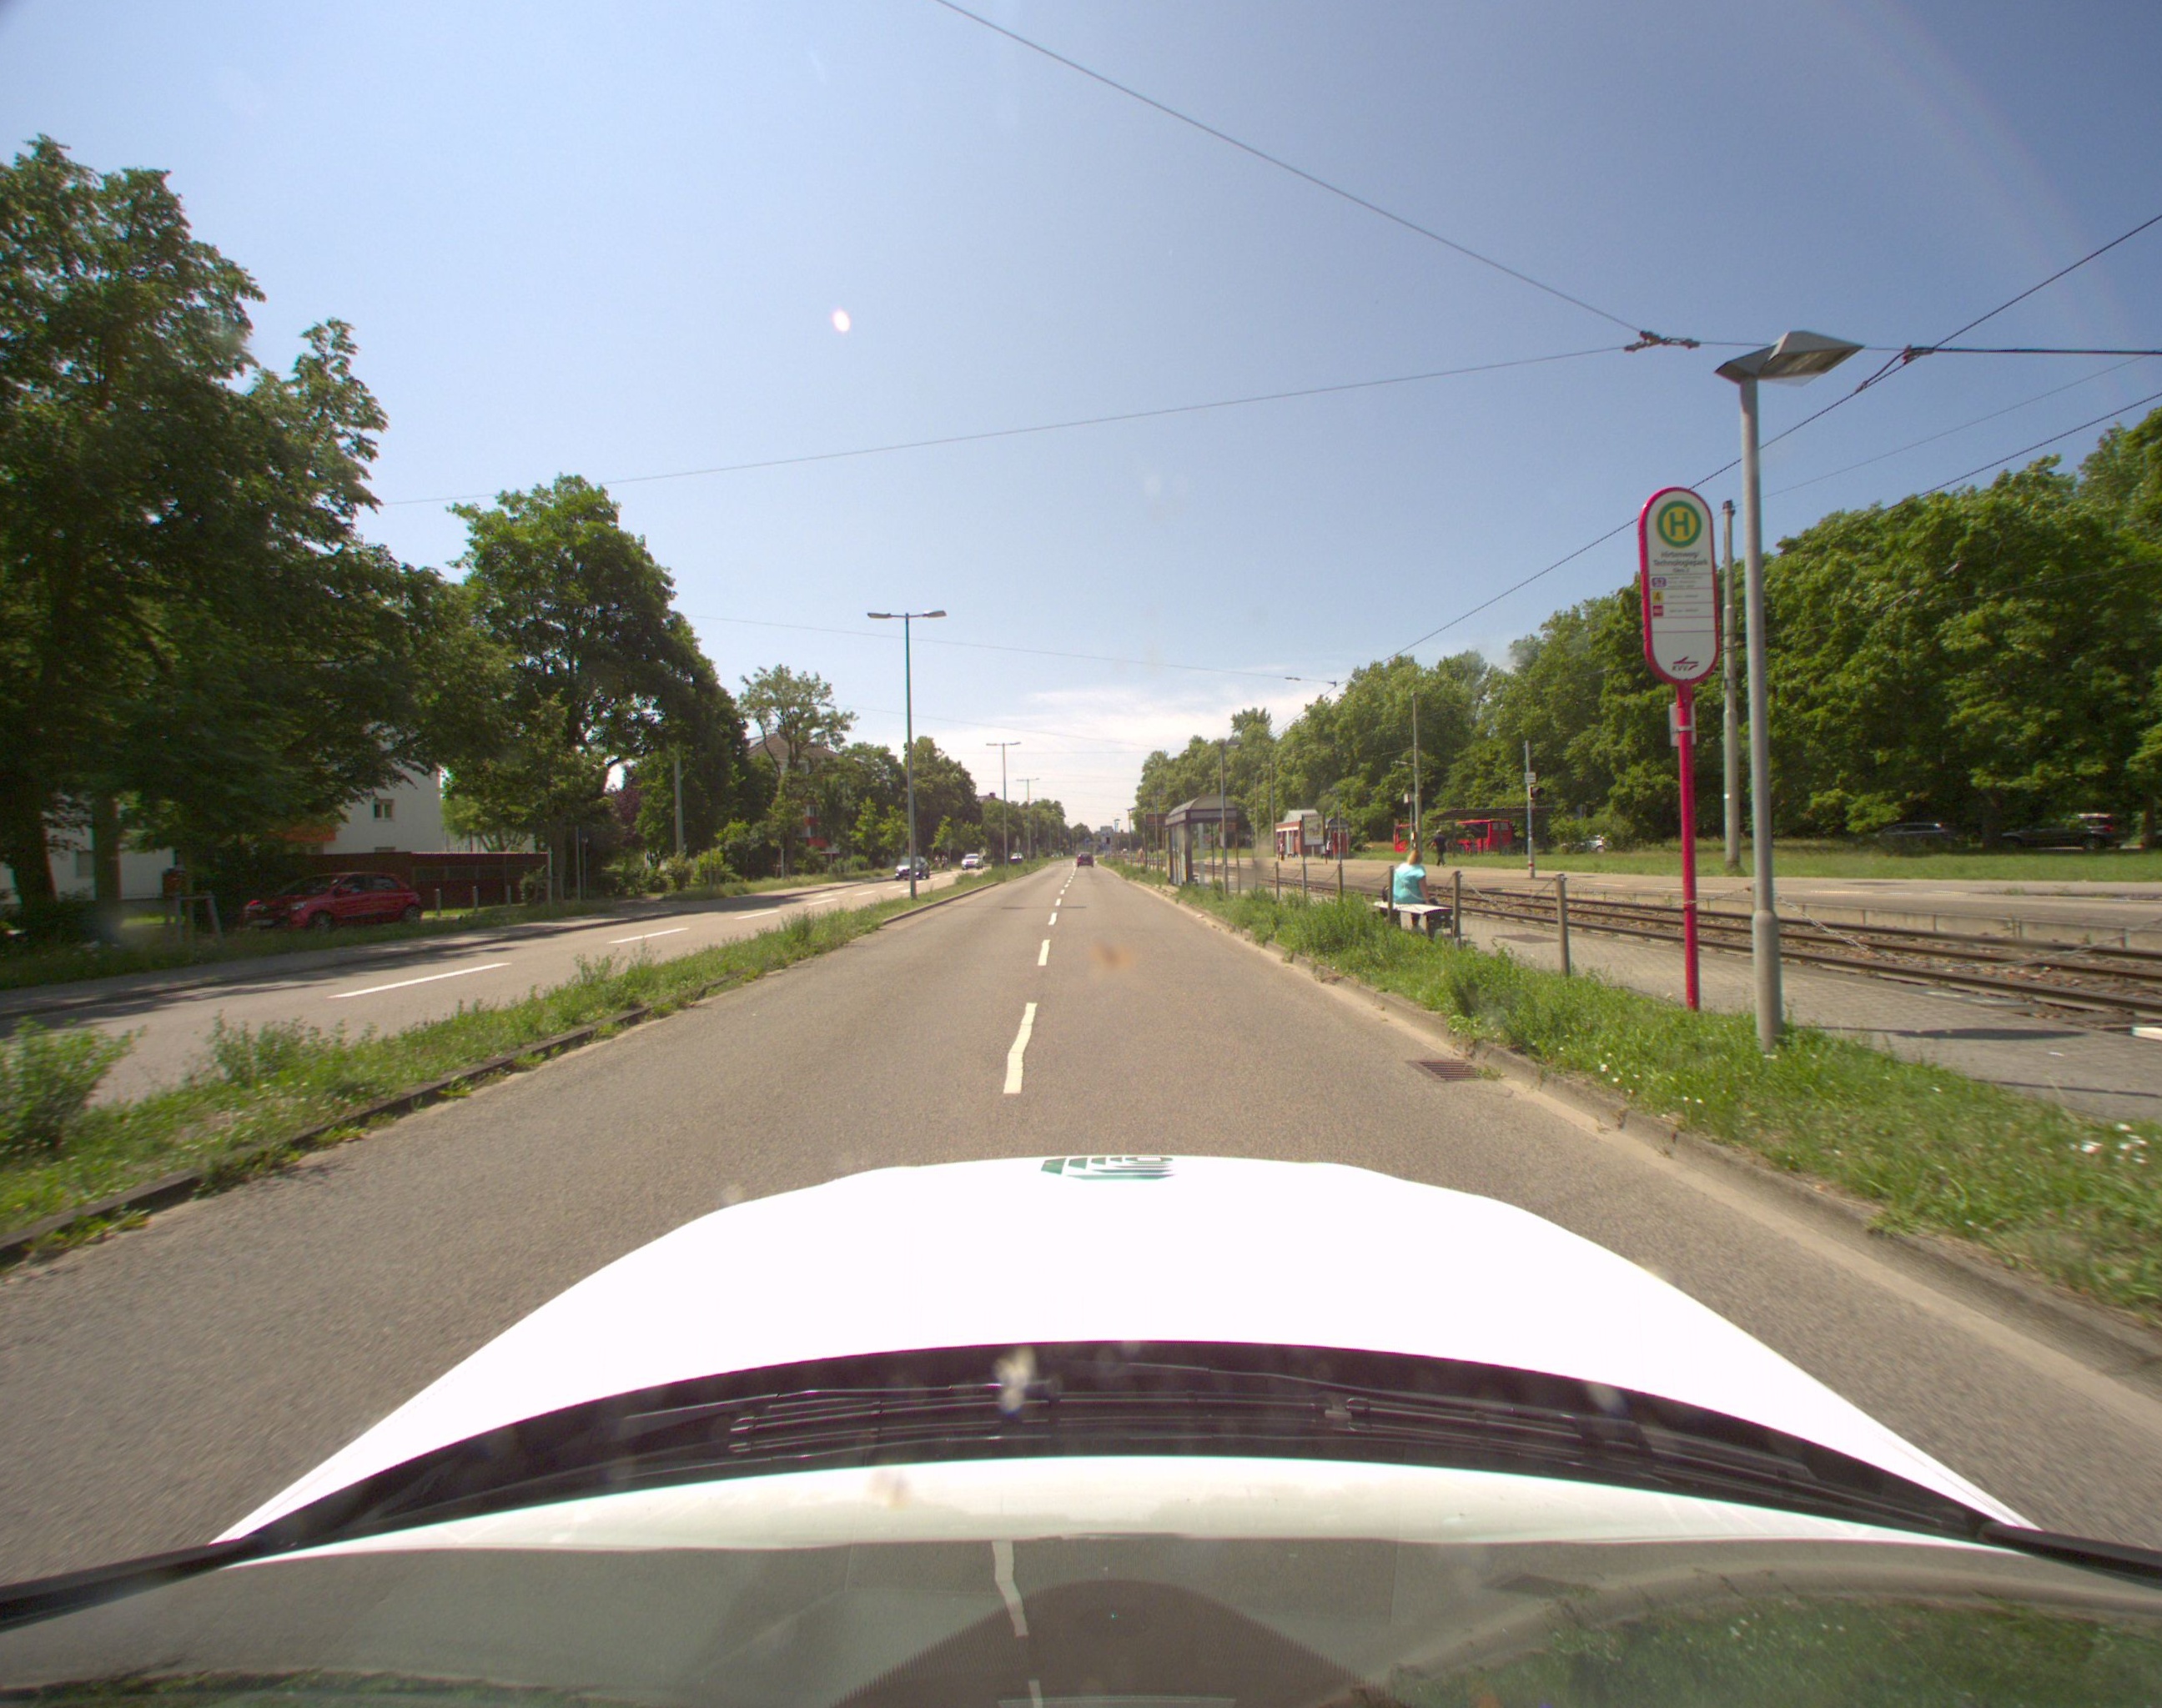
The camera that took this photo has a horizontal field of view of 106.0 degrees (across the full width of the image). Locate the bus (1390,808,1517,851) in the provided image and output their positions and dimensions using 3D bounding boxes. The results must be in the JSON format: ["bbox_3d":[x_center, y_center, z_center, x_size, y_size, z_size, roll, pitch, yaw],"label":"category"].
[{"bbox_3d":[33.570,-2.035,74.375,2.768,3.439,12.363,0,-1,-19],"label":"bus"}]

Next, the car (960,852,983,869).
[{"bbox_3d":[-11.680,0.713,87.040,1.853,1.758,4.478,0,-1,0],"label":"car"}]

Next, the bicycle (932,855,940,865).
[{"bbox_3d":[-15.571,0.618,87.501,0.552,1.094,1.380,0,-1,1],"label":"bicycle"}]

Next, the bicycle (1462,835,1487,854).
[{"bbox_3d":[25.083,-0.624,51.936,0.595,1.087,2.191,-2,2,1],"label":"bicycle"}]

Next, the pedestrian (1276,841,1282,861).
[{"bbox_3d":[15.733,-0.243,64.769,0.359,1.646,0.445,0,-1,3],"label":"pedestrian"}]

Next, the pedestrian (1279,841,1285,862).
[{"bbox_3d":[15.849,-0.207,64.145,0.359,1.596,0.483,0,-1,3],"label":"pedestrian"}]

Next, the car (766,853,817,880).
[{"bbox_3d":[-18.528,0.783,52.312,1.763,1.554,4.081,-4,0,-2],"label":"car"}]

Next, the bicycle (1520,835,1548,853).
[{"bbox_3d":[28.792,-0.649,51.760,0.595,1.087,2.191,-2,2,1],"label":"bicycle"}]

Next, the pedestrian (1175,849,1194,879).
[{"bbox_3d":[3.711,0.348,29.183,0.573,1.040,0.579,-2,0,0],"label":"pedestrian"}]

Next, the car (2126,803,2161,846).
[{"bbox_3d":[42.200,-1.164,29.448,2.124,1.611,5.026,-2,1,-18],"label":"car"}]

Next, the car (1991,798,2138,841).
[{"bbox_3d":[46.051,-1.573,38.243,2.001,1.771,3.972,-2,0,-21],"label":"car"}]

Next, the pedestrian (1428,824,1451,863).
[{"bbox_3d":[16.500,-0.482,37.501,0.703,1.764,0.658,-2,0,1],"label":"pedestrian"}]

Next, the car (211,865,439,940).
[{"bbox_3d":[-19.105,1.150,20.878,1.986,1.585,4.001,-2,1,1],"label":"car"}]

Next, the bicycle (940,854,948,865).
[{"bbox_3d":[-14.709,0.604,87.595,0.586,1.133,1.615,-2,0,0],"label":"bicycle"}]

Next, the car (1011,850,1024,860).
[{"bbox_3d":[-11.115,0.169,142.141,1.815,1.572,4.346,-2,0,0],"label":"car"}]

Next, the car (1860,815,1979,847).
[{"bbox_3d":[44.333,-1.197,43.167,1.888,1.511,3.974,-2,0,-19],"label":"car"}]

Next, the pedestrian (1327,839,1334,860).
[{"bbox_3d":[18.363,-0.323,59.956,0.358,1.596,0.613,0,-1,5],"label":"pedestrian"}]

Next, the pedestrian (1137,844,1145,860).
[{"bbox_3d":[6.564,-0.172,89.367,0.635,1.759,0.813,0,-1,-14],"label":"pedestrian"}]

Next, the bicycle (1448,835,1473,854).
[{"bbox_3d":[24.169,-0.621,51.931,0.595,1.087,2.191,-2,2,1],"label":"bicycle"}]

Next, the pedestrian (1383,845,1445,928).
[{"bbox_3d":[4.675,0.446,11.455,0.608,1.129,0.621,0,-1,-2],"label":"pedestrian"}]

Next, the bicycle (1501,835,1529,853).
[{"bbox_3d":[27.630,-0.640,51.892,0.595,1.087,2.191,-2,2,1],"label":"bicycle"}]

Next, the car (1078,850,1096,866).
[{"bbox_3d":[0.589,0.396,81.120,1.697,1.477,3.716,-2,0,0],"label":"car"}]

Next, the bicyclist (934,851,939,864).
[{"bbox_3d":[-15.546,0.399,87.569,0.356,1.392,0.441,0,0,2],"label":"bicyclist"}]

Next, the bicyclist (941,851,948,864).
[{"bbox_3d":[-14.706,0.353,87.647,0.543,1.345,0.755,-2,0,-1],"label":"bicyclist"}]
